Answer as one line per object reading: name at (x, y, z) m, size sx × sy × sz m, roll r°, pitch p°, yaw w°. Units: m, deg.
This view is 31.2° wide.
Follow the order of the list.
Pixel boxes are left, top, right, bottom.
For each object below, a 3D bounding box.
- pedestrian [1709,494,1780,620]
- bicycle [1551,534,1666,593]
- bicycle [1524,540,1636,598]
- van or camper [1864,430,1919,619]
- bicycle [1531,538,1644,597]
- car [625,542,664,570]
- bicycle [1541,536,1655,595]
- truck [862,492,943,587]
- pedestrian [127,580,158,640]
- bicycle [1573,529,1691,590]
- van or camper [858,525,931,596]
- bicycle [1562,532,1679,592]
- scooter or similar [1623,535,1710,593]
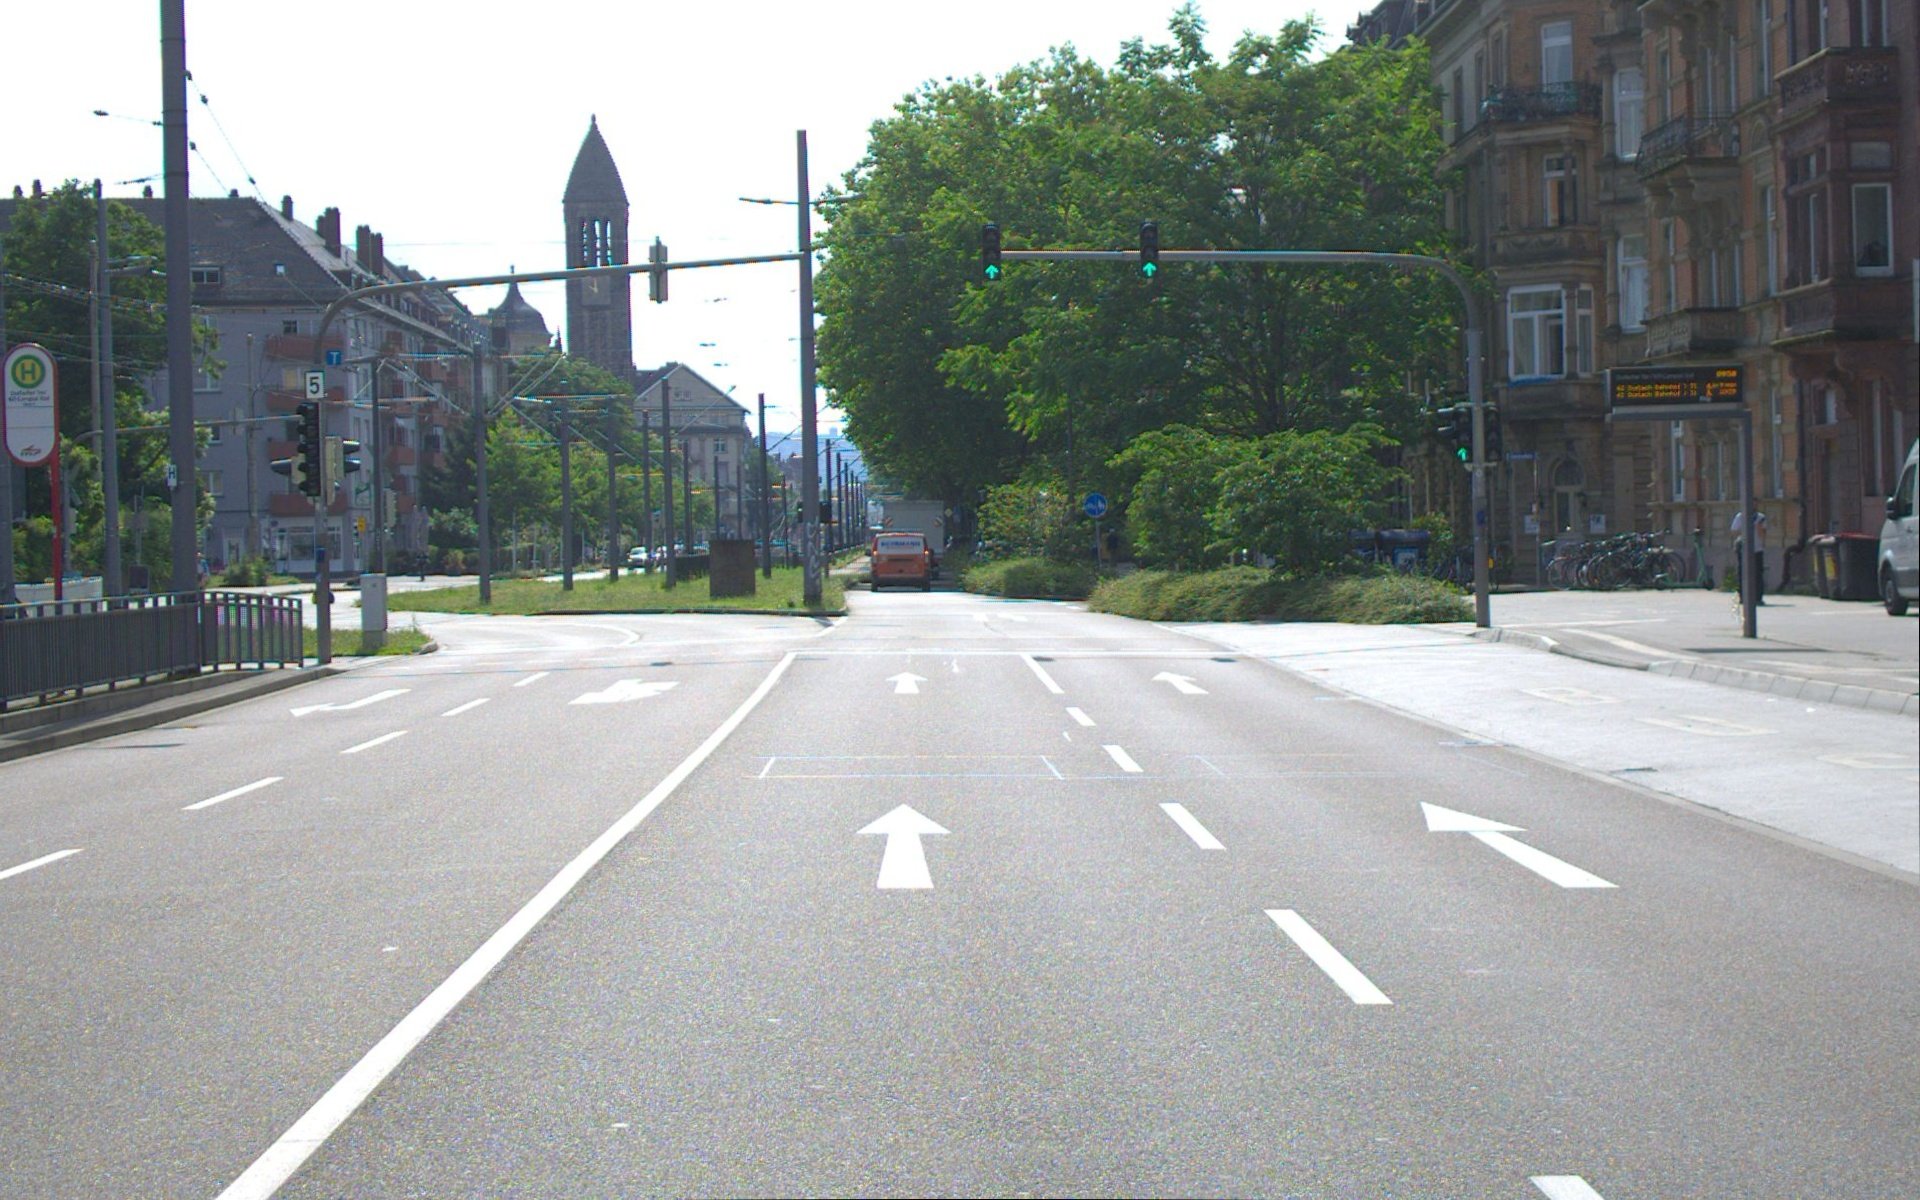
pedestrian at (12.737, -0.692, 55.836) m, size 0.886 × 2.007 × 0.996 m, roll 1°, pitch 0°, yaw -1°
bicycle at (13.200, -0.748, 69.964) m, size 2.189 × 1.177 × 0.684 m, roll -1°, pitch 1°, yaw -5°
bicycle at (12.997, -0.646, 72.086) m, size 2.189 × 1.177 × 0.684 m, roll -1°, pitch 1°, yaw -5°
van or camper at (13.567, -1.011, 44.819) m, size 1.993 × 2.465 × 5.565 m, roll -2°, pitch 1°, yaw -1°
bicycle at (13.028, -0.679, 71.406) m, size 2.189 × 1.177 × 0.684 m, roll -1°, pitch 1°, yaw -5°
car at (-20.362, -2.852, 222.009) m, size 1.994 × 1.787 × 4.000 m, roll -1°, pitch 1°, yaw 2°
bicycle at (13.120, -0.714, 70.670) m, size 2.189 × 1.177 × 0.684 m, roll -1°, pitch 1°, yaw -5°
truck at (-2.286, -2.401, 139.425) m, size 3.170 × 3.275 × 7.295 m, roll 0°, pitch -3°, yaw 0°
pedestrian at (-27.902, 0.345, 117.364) m, size 0.805 × 2.007 × 0.915 m, roll 1°, pitch -3°, yaw -1°
bicycle at (13.398, -0.814, 68.552) m, size 2.189 × 1.177 × 0.684 m, roll -1°, pitch 1°, yaw -5°
van or camper at (-2.107, -1.232, 109.296) m, size 2.008 × 1.908 × 4.523 m, roll 1°, pitch -3°, yaw -5°
bicycle at (13.315, -0.778, 69.317) m, size 2.189 × 1.177 × 0.684 m, roll -1°, pitch 1°, yaw -5°
scooter or similar at (13.549, -0.696, 65.963) m, size 1.565 × 1.094 × 0.451 m, roll -1°, pitch 1°, yaw 3°
